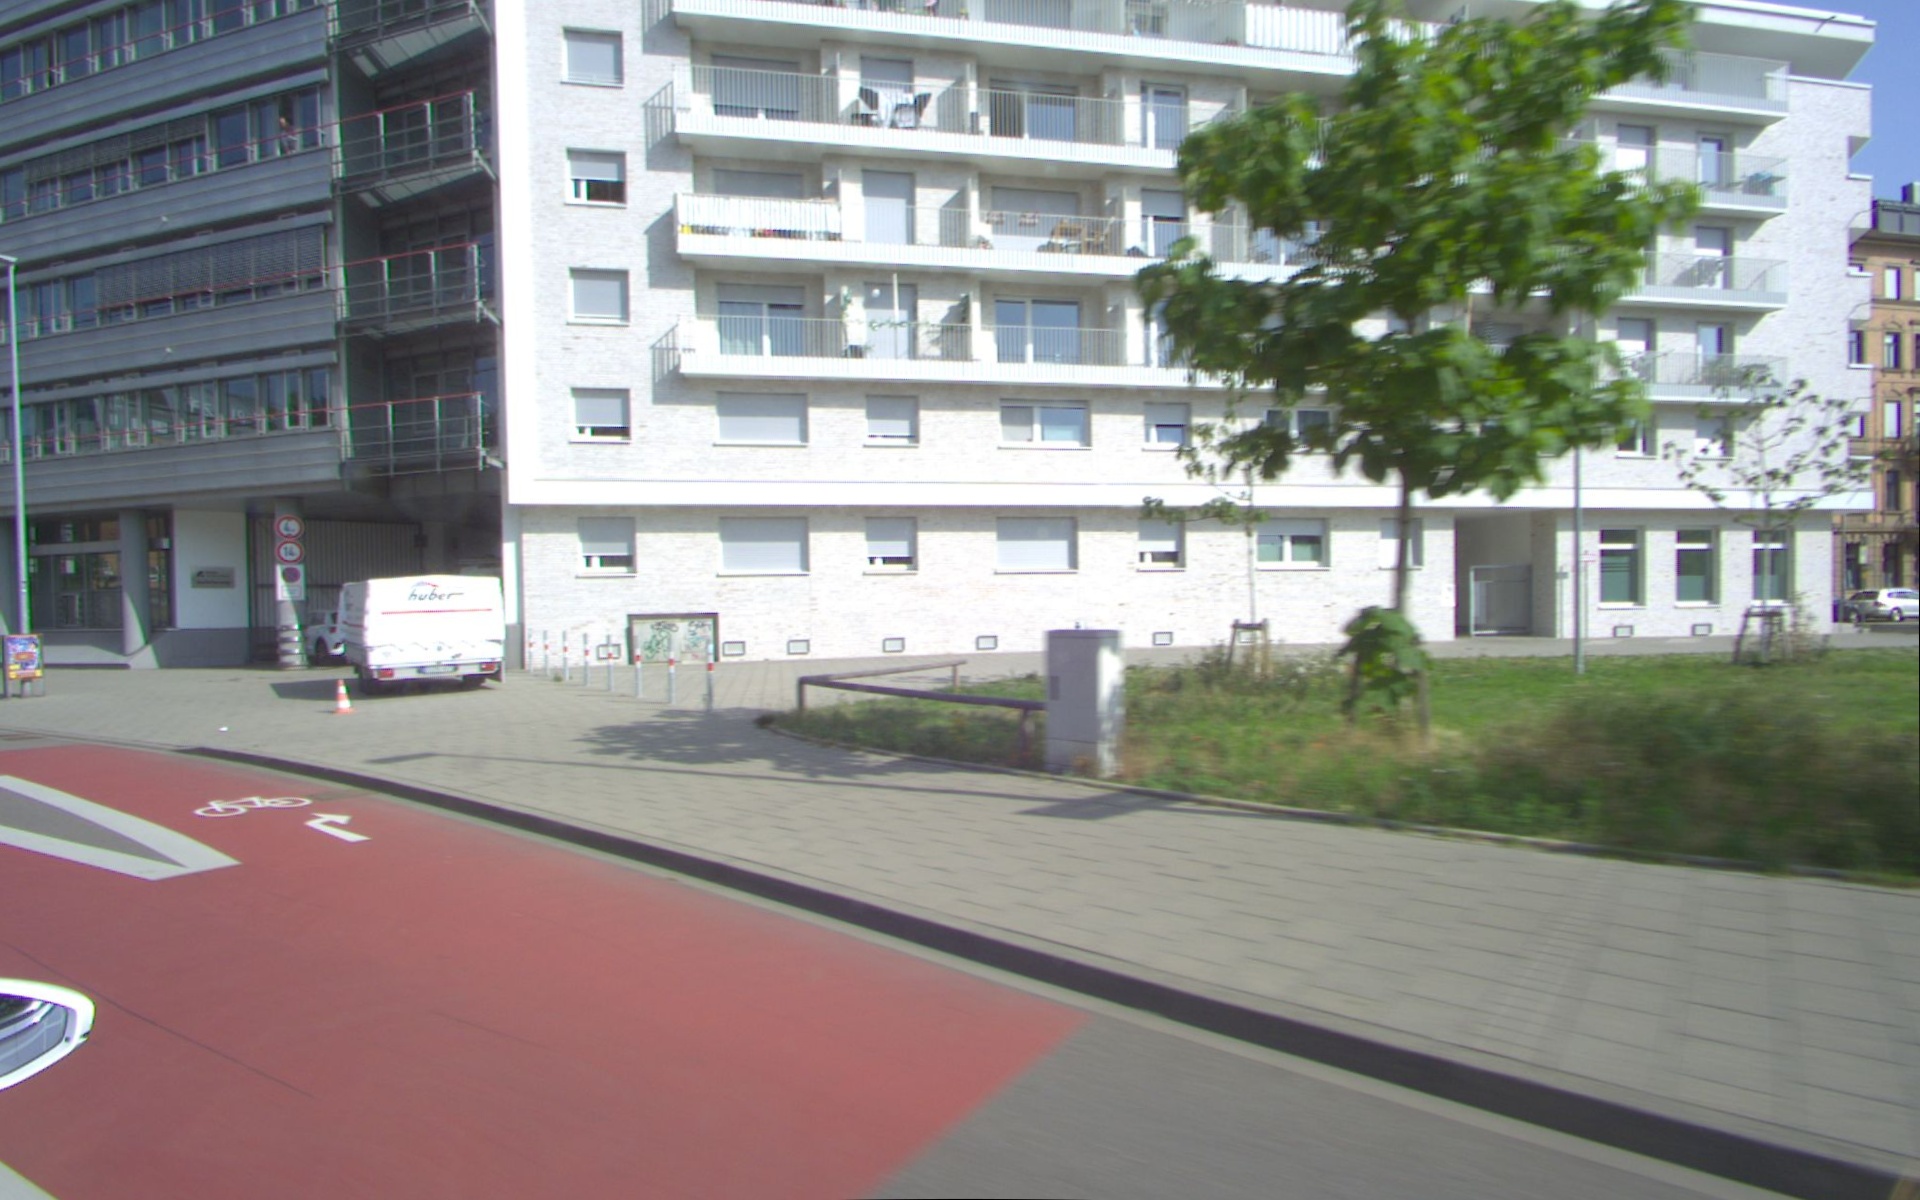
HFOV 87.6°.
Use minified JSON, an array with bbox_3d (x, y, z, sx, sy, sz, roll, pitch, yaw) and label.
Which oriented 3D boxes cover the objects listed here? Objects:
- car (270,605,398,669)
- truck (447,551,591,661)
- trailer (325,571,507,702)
[{"bbox_3d":[-17.496,0.970,27.953,3.948,1.611,1.738,0,1,37],"label":"car"},{"bbox_3d":[-13.927,0.023,32.151,1.961,3.141,6.145,-2,3,-2],"label":"truck"},{"bbox_3d":[-10.869,0.624,19.742,2.367,2.180,5.906,-1,0,-36],"label":"trailer"}]
